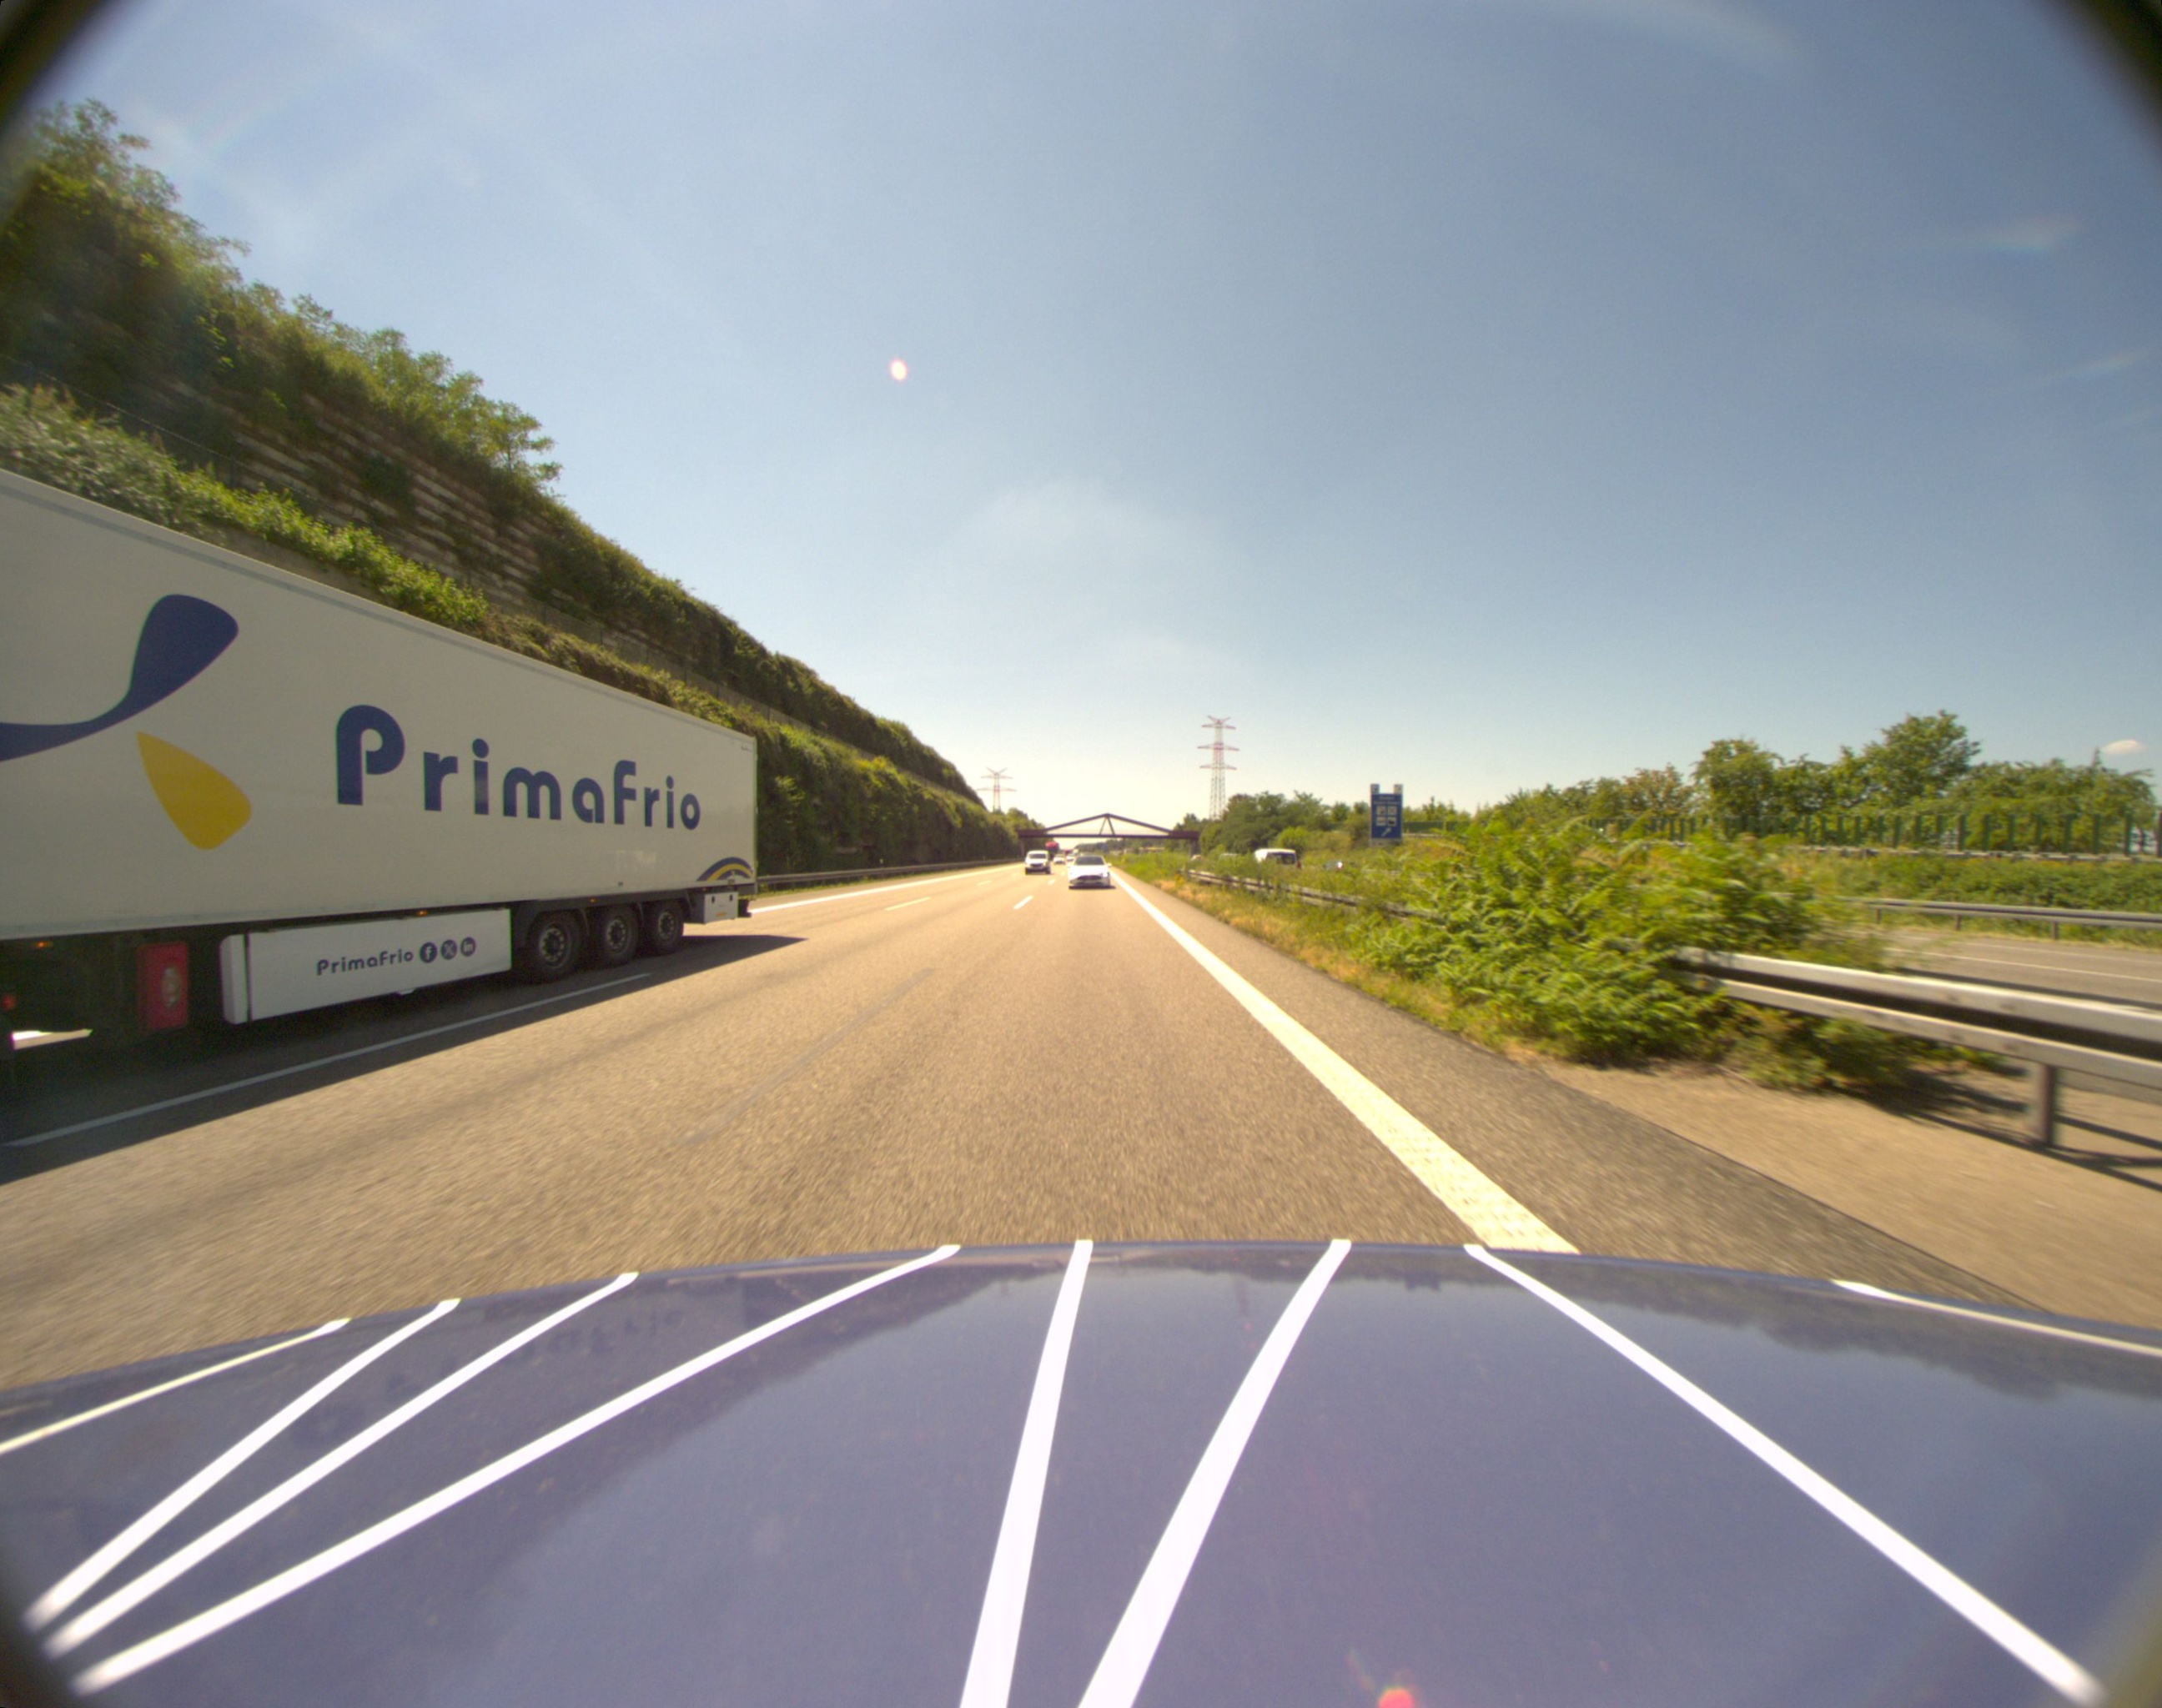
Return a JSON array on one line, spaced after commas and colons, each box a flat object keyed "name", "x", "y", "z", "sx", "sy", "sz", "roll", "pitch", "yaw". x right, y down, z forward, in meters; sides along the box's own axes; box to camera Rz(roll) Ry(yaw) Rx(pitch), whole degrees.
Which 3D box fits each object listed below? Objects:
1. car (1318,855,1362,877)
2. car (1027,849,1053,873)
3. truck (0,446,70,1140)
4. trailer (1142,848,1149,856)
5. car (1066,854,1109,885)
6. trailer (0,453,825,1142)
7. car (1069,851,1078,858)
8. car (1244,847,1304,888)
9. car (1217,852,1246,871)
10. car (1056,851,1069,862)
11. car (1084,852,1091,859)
[{"name": "car", "x": 18.566, "y": 0.829, "z": 54.622, "sx": 1.545, "sy": 1.441, "sz": 4.798, "roll": 1, "pitch": 0, "yaw": 0}, {"name": "car", "x": -3.170, "y": 0.482, "z": 59.236, "sx": 1.784, "sy": 1.783, "sz": 3.999, "roll": -1, "pitch": 0, "yaw": 0}, {"name": "truck", "x": -7.856, "y": -0.343, "z": 1.763, "sx": 2.514, "sy": 4.196, "sz": 6.255, "roll": 0, "pitch": 1, "yaw": 1}, {"name": "trailer", "x": 20.173, "y": -0.588, "z": 237.929, "sx": 1.999, "sy": 2.504, "sz": 4.183, "roll": 1, "pitch": 0, "yaw": 0}, {"name": "car", "x": 0.305, "y": 0.730, "z": 38.096, "sx": 1.999, "sy": 1.474, "sz": 4.107, "roll": 0, "pitch": 0, "yaw": 0}, {"name": "trailer", "x": -7.747, "y": -0.363, "z": 10.402, "sx": 2.521, "sy": 4.187, "sz": 17.026, "roll": 0, "pitch": 0, "yaw": 1}, {"name": "car", "x": -1.564, "y": 0.124, "z": 153.224, "sx": 1.784, "sy": 1.475, "sz": 3.999, "roll": 1, "pitch": 0, "yaw": 0}, {"name": "car", "x": 9.504, "y": 0.615, "z": 37.808, "sx": 1.767, "sy": 1.914, "sz": 4.770, "roll": 1, "pitch": 0, "yaw": 0}, {"name": "car", "x": 14.442, "y": 0.697, "z": 73.122, "sx": 1.793, "sy": 1.755, "sz": 5.016, "roll": 1, "pitch": 0, "yaw": 0}, {"name": "car", "x": -2.676, "y": 0.388, "z": 109.500, "sx": 1.784, "sy": 1.475, "sz": 3.999, "roll": -1, "pitch": 0, "yaw": 0}, {"name": "car", "x": 2.103, "y": 0.416, "z": 229.633, "sx": 1.998, "sy": 2.002, "sz": 4.000, "roll": -1, "pitch": 1, "yaw": 1}]
